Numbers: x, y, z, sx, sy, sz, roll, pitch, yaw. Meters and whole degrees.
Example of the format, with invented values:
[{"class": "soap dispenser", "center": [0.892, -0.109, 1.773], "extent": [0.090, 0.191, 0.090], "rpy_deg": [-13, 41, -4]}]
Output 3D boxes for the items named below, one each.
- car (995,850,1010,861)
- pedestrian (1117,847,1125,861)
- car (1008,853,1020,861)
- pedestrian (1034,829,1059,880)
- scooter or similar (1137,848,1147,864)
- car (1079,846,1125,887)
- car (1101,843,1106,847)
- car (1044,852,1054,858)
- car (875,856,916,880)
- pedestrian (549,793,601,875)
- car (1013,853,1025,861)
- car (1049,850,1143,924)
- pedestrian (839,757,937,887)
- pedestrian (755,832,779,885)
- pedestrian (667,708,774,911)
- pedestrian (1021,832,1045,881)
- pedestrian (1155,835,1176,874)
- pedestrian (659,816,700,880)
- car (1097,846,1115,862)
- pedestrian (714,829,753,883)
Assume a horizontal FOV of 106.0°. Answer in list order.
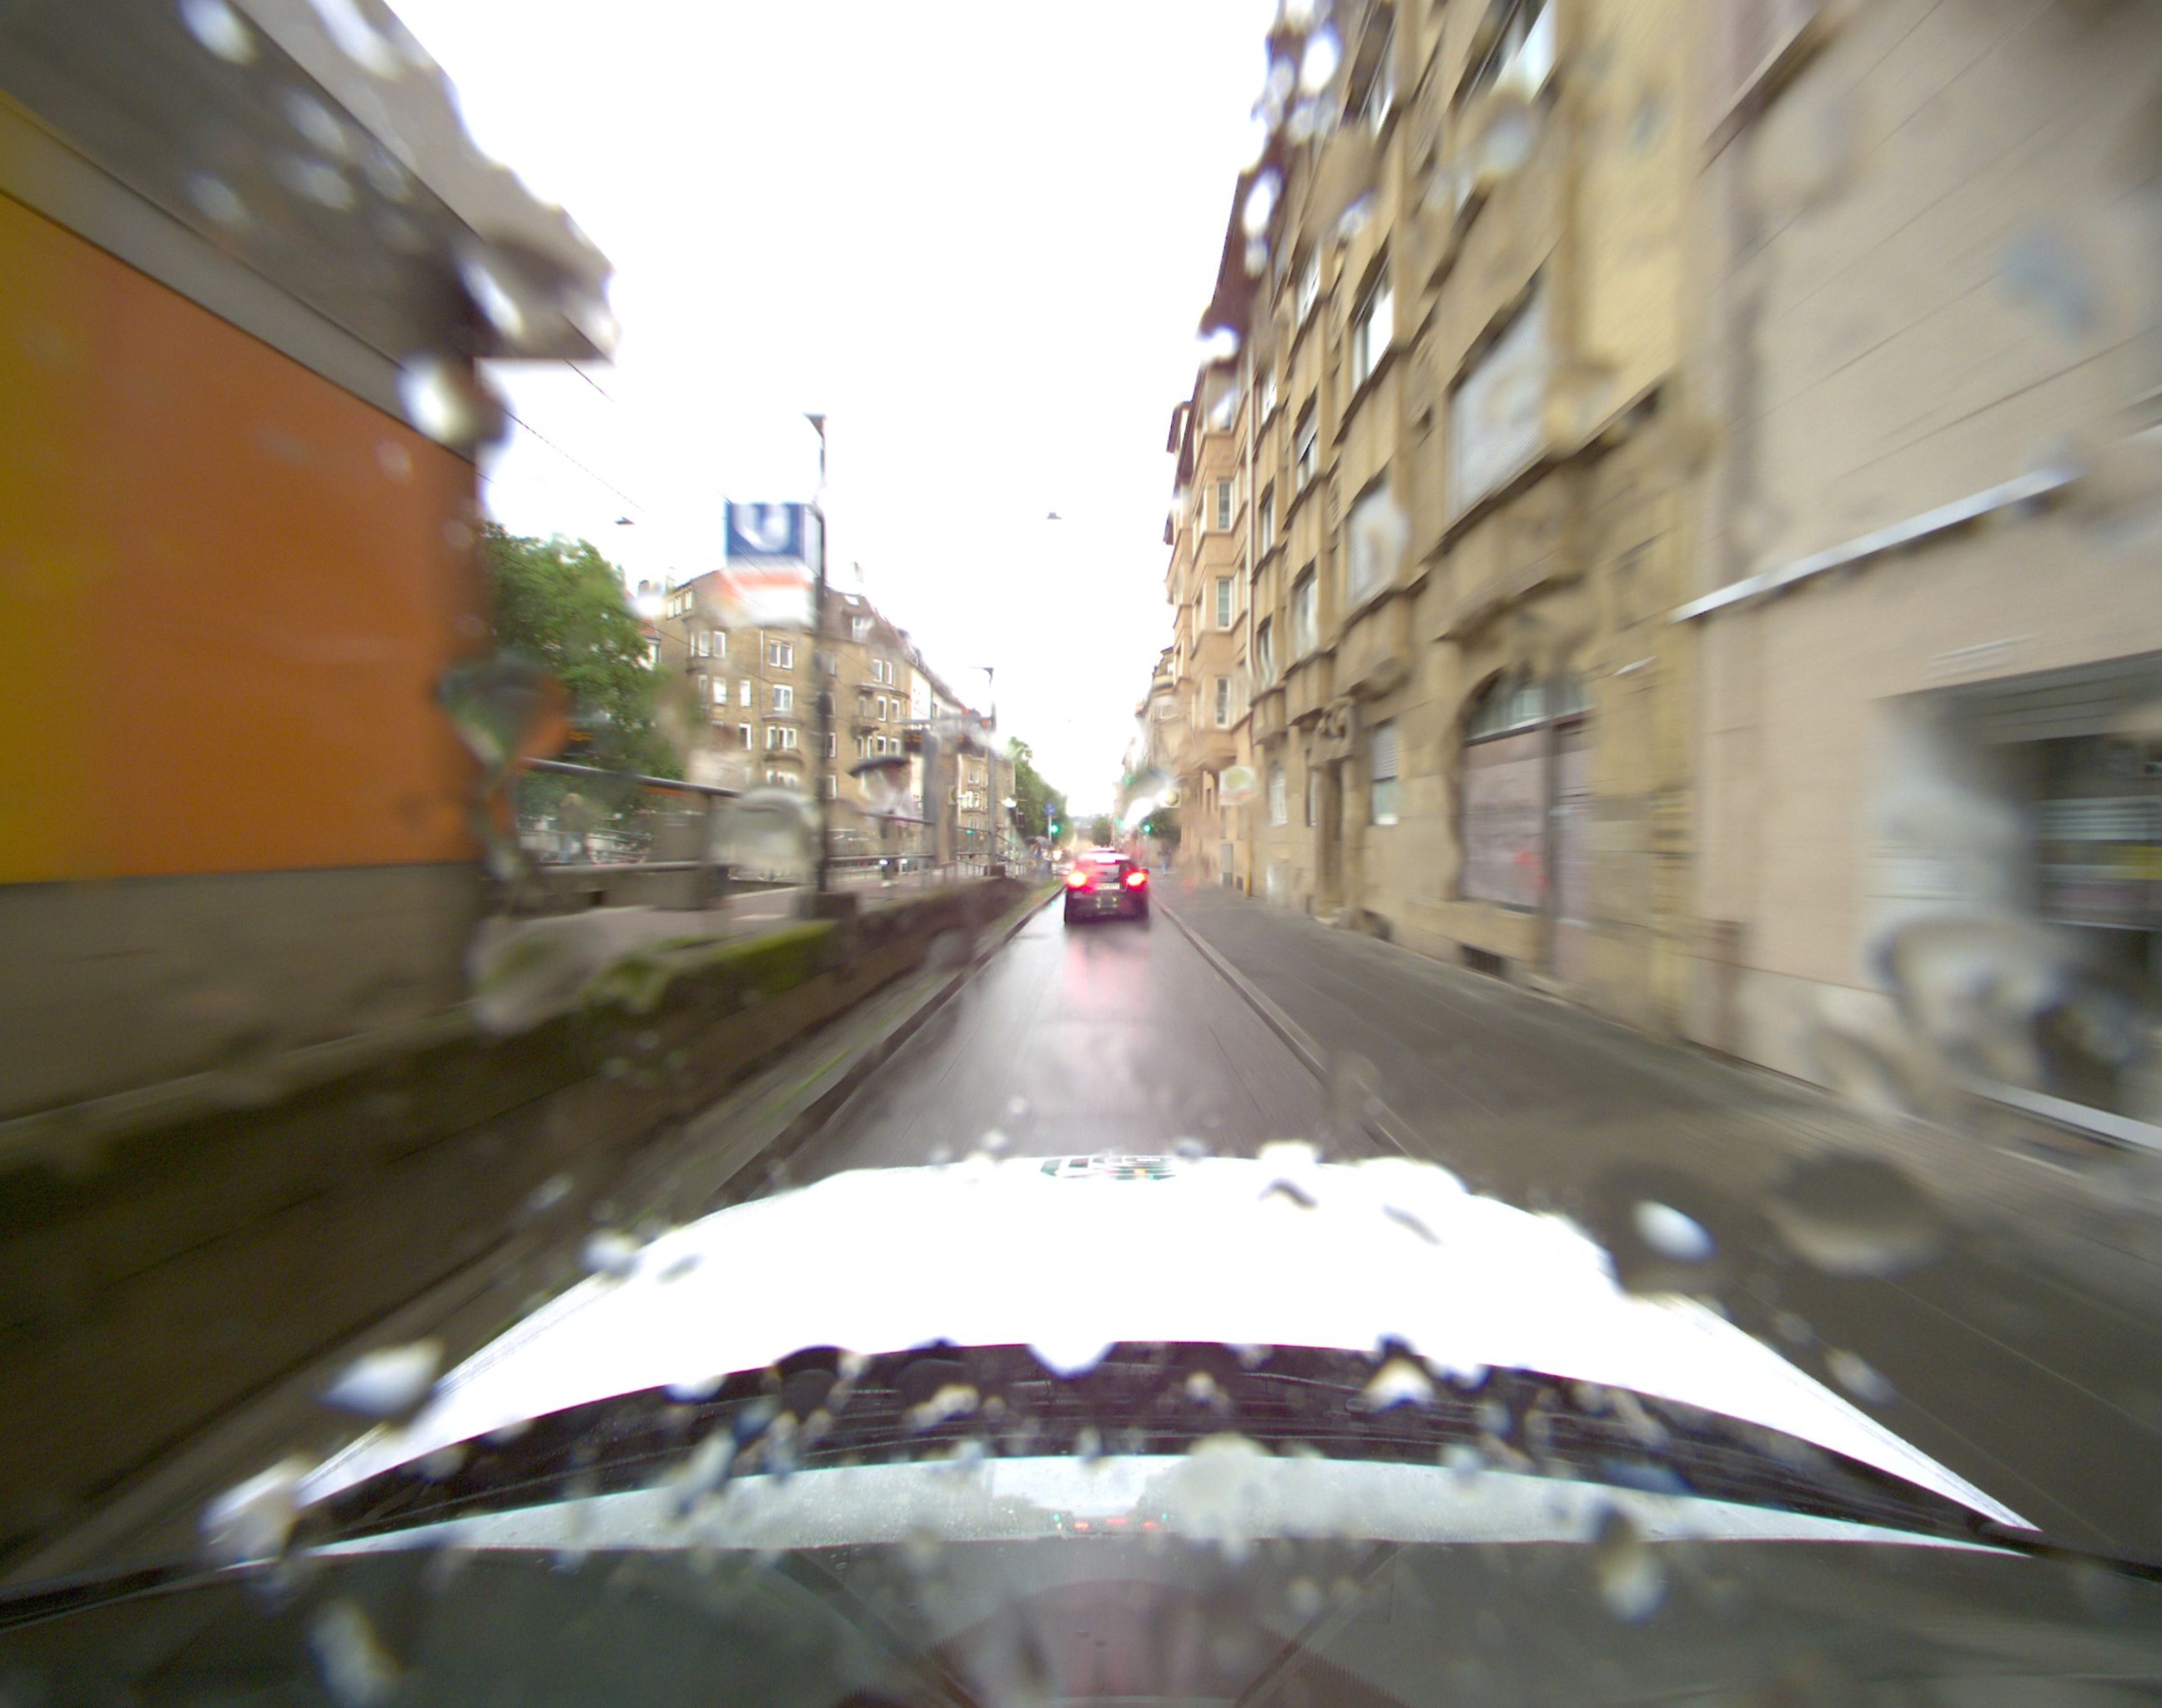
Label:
[{"class": "car", "center": [-12.101, 0.179, 125.574], "extent": [1.715, 1.541, 3.937], "rpy_deg": [-2, 0, 3]}, {"class": "pedestrian", "center": [5.205, -0.027, 106.397], "extent": [0.942, 1.769, 1.015], "rpy_deg": [-1, 0, -1]}, {"class": "car", "center": [-11.407, 0.509, 138.876], "extent": [1.562, 1.316, 3.484], "rpy_deg": [-2, 0, 3]}, {"class": "pedestrian", "center": [-1.393, 0.015, 32.830], "extent": [0.922, 2.013, 0.948], "rpy_deg": [0, 0, 1]}, {"class": "scooter or similar", "center": [4.844, 0.161, 64.760], "extent": [0.636, 1.210, 1.551], "rpy_deg": [-2, 0, -3]}, {"class": "car", "center": [0.859, 0.438, 31.287], "extent": [1.642, 1.452, 4.004], "rpy_deg": [0, 0, 3]}, {"class": "car", "center": [6.515, -2.632, 237.073], "extent": [1.607, 1.317, 4.001], "rpy_deg": [0, 0, 1]}, {"class": "car", "center": [-7.680, 0.211, 194.433], "extent": [1.941, 1.396, 4.276], "rpy_deg": [-2, 0, 2]}, {"class": "car", "center": [-13.097, 0.957, 57.790], "extent": [1.637, 1.496, 4.766], "rpy_deg": [-1, 0, 2]}, {"class": "pedestrian", "center": [-10.725, -0.409, 17.277], "extent": [0.663, 1.698, 0.688], "rpy_deg": [-1, -1, -2]}, {"class": "car", "center": [-10.904, 0.564, 143.918], "extent": [1.562, 1.413, 3.484], "rpy_deg": [-2, 0, 3]}, {"class": "car", "center": [0.415, 0.646, 18.100], "extent": [1.858, 1.452, 4.004], "rpy_deg": [0, 0, 3]}, {"class": "pedestrian", "center": [-2.742, -0.442, 11.691], "extent": [1.110, 1.774, 1.112], "rpy_deg": [0, 0, 1]}, {"class": "pedestrian", "center": [-10.793, 0.149, 28.004], "extent": [0.509, 1.818, 0.800], "rpy_deg": [0, 0, 1]}, {"class": "pedestrian", "center": [-3.287, -0.393, 7.474], "extent": [0.641, 1.774, 0.711], "rpy_deg": [0, 0, 1]}, {"class": "pedestrian", "center": [-2.015, 0.099, 34.319], "extent": [0.893, 2.013, 0.948], "rpy_deg": [0, 0, 1]}, {"class": "pedestrian", "center": [4.154, 0.012, 39.984], "extent": [0.895, 1.840, 0.970], "rpy_deg": [-4, 0, 6]}, {"class": "pedestrian", "center": [-10.850, -0.152, 22.042], "extent": [0.741, 1.647, 0.641], "rpy_deg": [-3, -2, 1]}, {"class": "car", "center": [2.624, 0.006, 85.743], "extent": [1.759, 1.559, 4.747], "rpy_deg": [-2, 0, 2]}, {"class": "pedestrian", "center": [-10.343, 0.068, 24.267], "extent": [0.690, 1.583, 0.956], "rpy_deg": [0, -1, 1]}]
